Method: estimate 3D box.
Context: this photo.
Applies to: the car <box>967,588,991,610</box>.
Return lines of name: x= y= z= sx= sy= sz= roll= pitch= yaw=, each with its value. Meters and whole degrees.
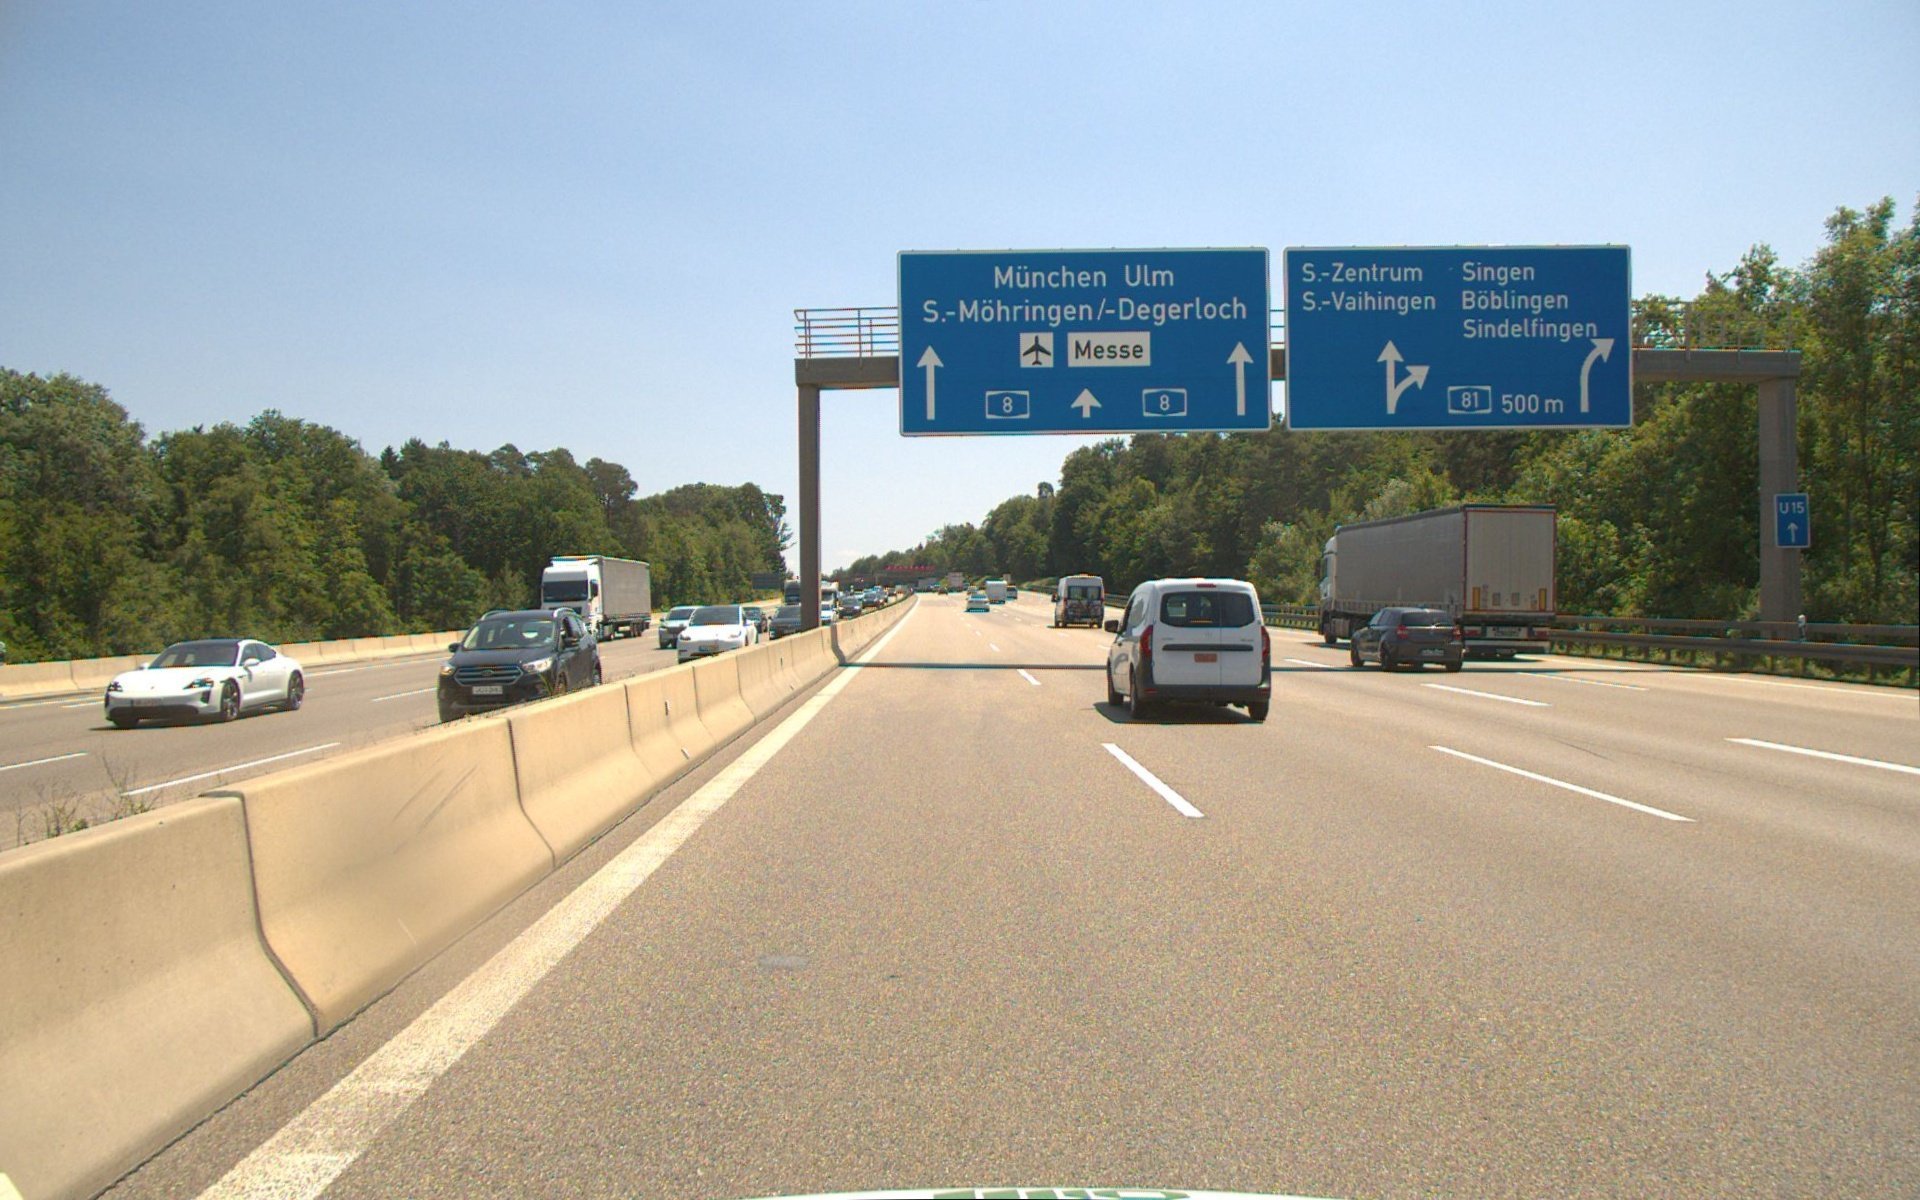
car: x=1.530 y=-0.075 z=136.590 sx=1.806 sy=1.657 sz=4.552 roll=-2 pitch=-1 yaw=-1

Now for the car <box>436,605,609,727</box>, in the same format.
car: x=-6.799 y=0.967 z=26.123 sx=1.719 sy=1.702 sz=4.202 roll=-1 pitch=0 yaw=-2

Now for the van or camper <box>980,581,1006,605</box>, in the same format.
van or camper: x=3.730 y=-0.807 z=187.899 sx=2.591 sy=2.583 sz=6.500 roll=-1 pitch=0 yaw=-1

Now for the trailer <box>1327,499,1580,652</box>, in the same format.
trailer: x=14.528 y=-0.675 z=50.465 sx=3.221 sy=3.999 sz=13.886 roll=1 pitch=0 yaw=-1

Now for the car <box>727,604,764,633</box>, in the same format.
car: x=-11.590 y=0.965 z=89.496 sx=1.517 sy=1.467 sz=4.723 roll=-1 pitch=0 yaw=-2

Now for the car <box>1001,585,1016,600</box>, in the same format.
car: x=6.345 y=-0.954 z=217.627 sx=1.783 sy=1.892 sz=3.999 roll=-1 pitch=0 yaw=-1

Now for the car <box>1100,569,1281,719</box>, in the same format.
car: x=3.075 y=0.578 z=22.961 sx=1.822 sy=1.858 sz=4.611 roll=0 pitch=-1 yaw=-1

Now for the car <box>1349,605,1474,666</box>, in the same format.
car: x=10.241 y=0.844 z=37.809 sx=1.636 sy=1.296 sz=4.288 roll=0 pitch=-2 yaw=-1

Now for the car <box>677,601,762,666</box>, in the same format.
car: x=-6.791 y=0.899 z=47.080 sx=1.776 sy=1.702 sz=4.475 roll=-1 pitch=0 yaw=-1

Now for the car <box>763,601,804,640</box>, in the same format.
car: x=-7.437 y=0.854 z=70.101 sx=1.506 sy=1.577 sz=4.067 roll=-1 pitch=0 yaw=-4

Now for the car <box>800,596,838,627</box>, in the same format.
car: x=-8.004 y=0.646 z=94.230 sx=1.809 sy=1.577 sz=5.213 roll=-4 pitch=1 yaw=-2

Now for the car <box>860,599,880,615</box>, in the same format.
car: x=-9.562 y=0.775 z=175.621 sx=1.953 sy=1.646 sz=3.999 roll=-1 pitch=0 yaw=-1

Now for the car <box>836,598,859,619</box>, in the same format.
car: x=-8.649 y=0.646 z=127.207 sx=1.689 sy=1.564 sz=5.052 roll=-1 pitch=0 yaw=-3

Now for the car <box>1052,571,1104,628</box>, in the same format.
car: x=5.844 y=-0.042 z=82.413 sx=2.100 sy=2.698 sz=5.708 roll=0 pitch=0 yaw=-1

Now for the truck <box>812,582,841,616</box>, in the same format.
truck: x=-11.976 y=-0.106 z=148.977 sx=2.094 sy=2.888 sz=7.668 roll=-1 pitch=0 yaw=-1

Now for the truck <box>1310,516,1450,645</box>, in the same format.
truck: x=14.373 y=-0.647 z=57.098 sx=3.188 sy=4.178 sz=5.986 roll=1 pitch=0 yaw=-1

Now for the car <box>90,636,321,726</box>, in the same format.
car: x=-13.382 y=1.384 z=29.698 sx=1.952 sy=1.329 sz=4.844 roll=-1 pitch=0 yaw=-1

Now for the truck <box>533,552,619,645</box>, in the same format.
truck: x=-18.746 y=-0.019 z=81.116 sx=2.704 sy=4.294 sz=6.376 roll=-2 pitch=-1 yaw=-1

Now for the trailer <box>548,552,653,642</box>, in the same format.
trailer: x=-18.877 y=-0.047 z=87.905 sx=2.699 sy=4.320 sz=13.715 roll=-2 pitch=-1 yaw=-1

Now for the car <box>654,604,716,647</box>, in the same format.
car: x=-10.999 y=0.995 z=66.451 sx=1.781 sy=1.617 sz=4.880 roll=-1 pitch=0 yaw=-2
